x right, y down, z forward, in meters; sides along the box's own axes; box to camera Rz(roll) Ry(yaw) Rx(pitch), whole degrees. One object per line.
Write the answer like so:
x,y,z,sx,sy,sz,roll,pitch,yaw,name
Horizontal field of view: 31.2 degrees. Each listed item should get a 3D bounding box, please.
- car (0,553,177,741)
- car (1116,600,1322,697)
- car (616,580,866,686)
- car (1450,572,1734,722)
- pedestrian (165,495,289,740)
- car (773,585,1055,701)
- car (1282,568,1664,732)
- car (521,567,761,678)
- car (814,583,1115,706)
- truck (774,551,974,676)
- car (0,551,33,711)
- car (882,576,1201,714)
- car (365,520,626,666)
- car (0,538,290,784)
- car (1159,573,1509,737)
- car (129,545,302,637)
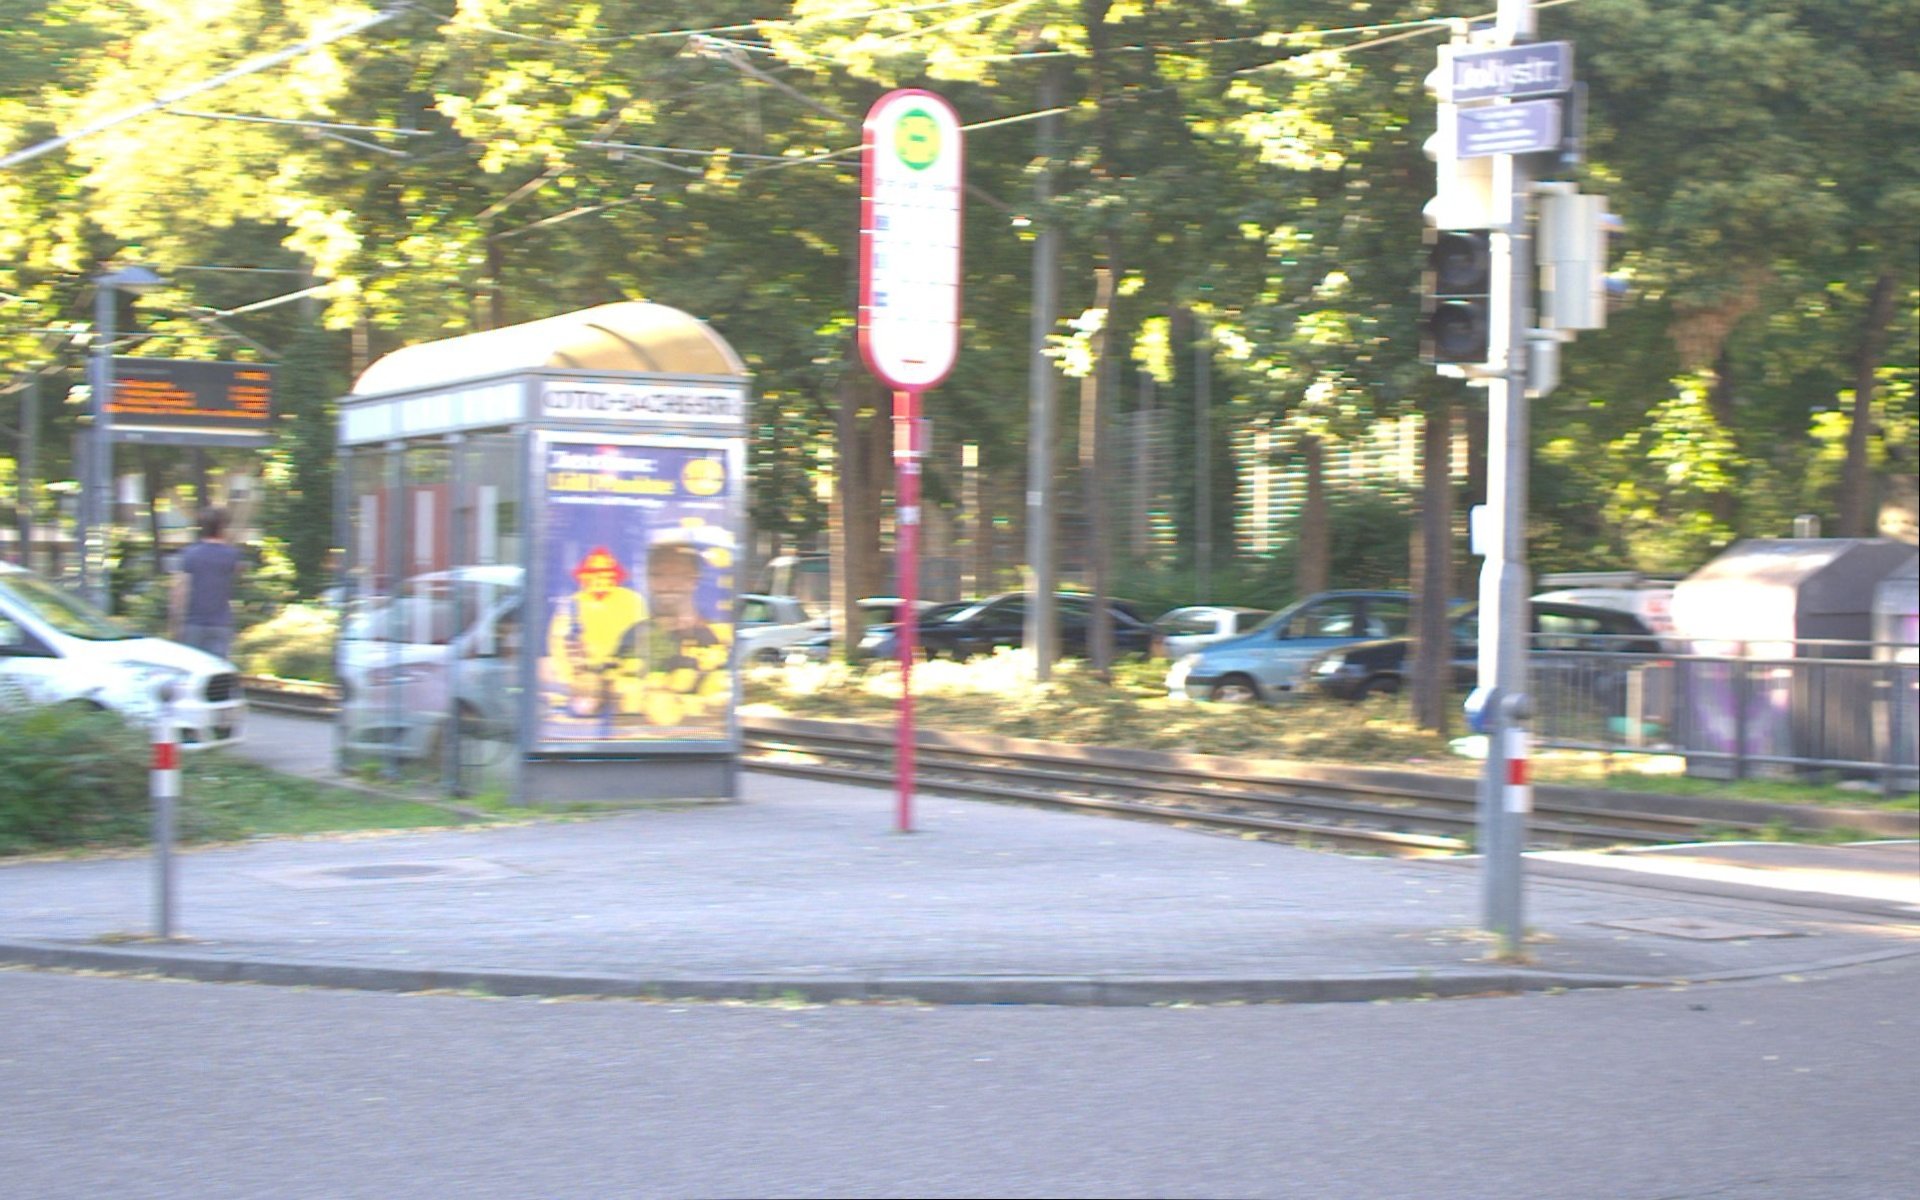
-8.765,0.438,28.276,4.192,1.432,1.701,-3,1,1,car
4.109,0.754,54.959,1.571,1.462,3.601,1,0,-28,car
-3.489,0.540,54.509,3.816,1.417,1.738,4,-2,-5,car
8.425,0.599,46.124,1.571,1.897,3.902,1,0,-30,car
-5.798,0.134,27.238,0.848,1.904,0.838,1,0,-6,pedestrian
-0.681,0.623,48.867,3.816,1.386,1.738,4,-2,-5,car
5.256,0.504,35.501,3.607,1.442,1.608,4,0,-1,car
-5.287,0.392,57.060,3.816,1.582,1.738,4,-2,-5,car
0.034,0.612,46.073,3.816,1.386,1.738,4,-2,-5,car
-1.716,0.249,67.080,2.366,2.344,4.384,1,0,-24,truck
-11.279,0.389,33.060,4.227,1.502,1.608,-3,1,0,car
1.009,0.586,43.767,3.816,1.492,1.738,4,-2,-5,car
-8.823,-0.127,65.557,4.487,2.468,1.819,3,-2,7,car
-7.230,0.476,25.126,4.228,1.647,1.607,-2,1,7,car
4.113,0.597,38.169,3.607,1.557,1.607,4,0,-1,car
-20.235,-0.229,93.518,4.080,2.203,1.819,3,-2,6,car
